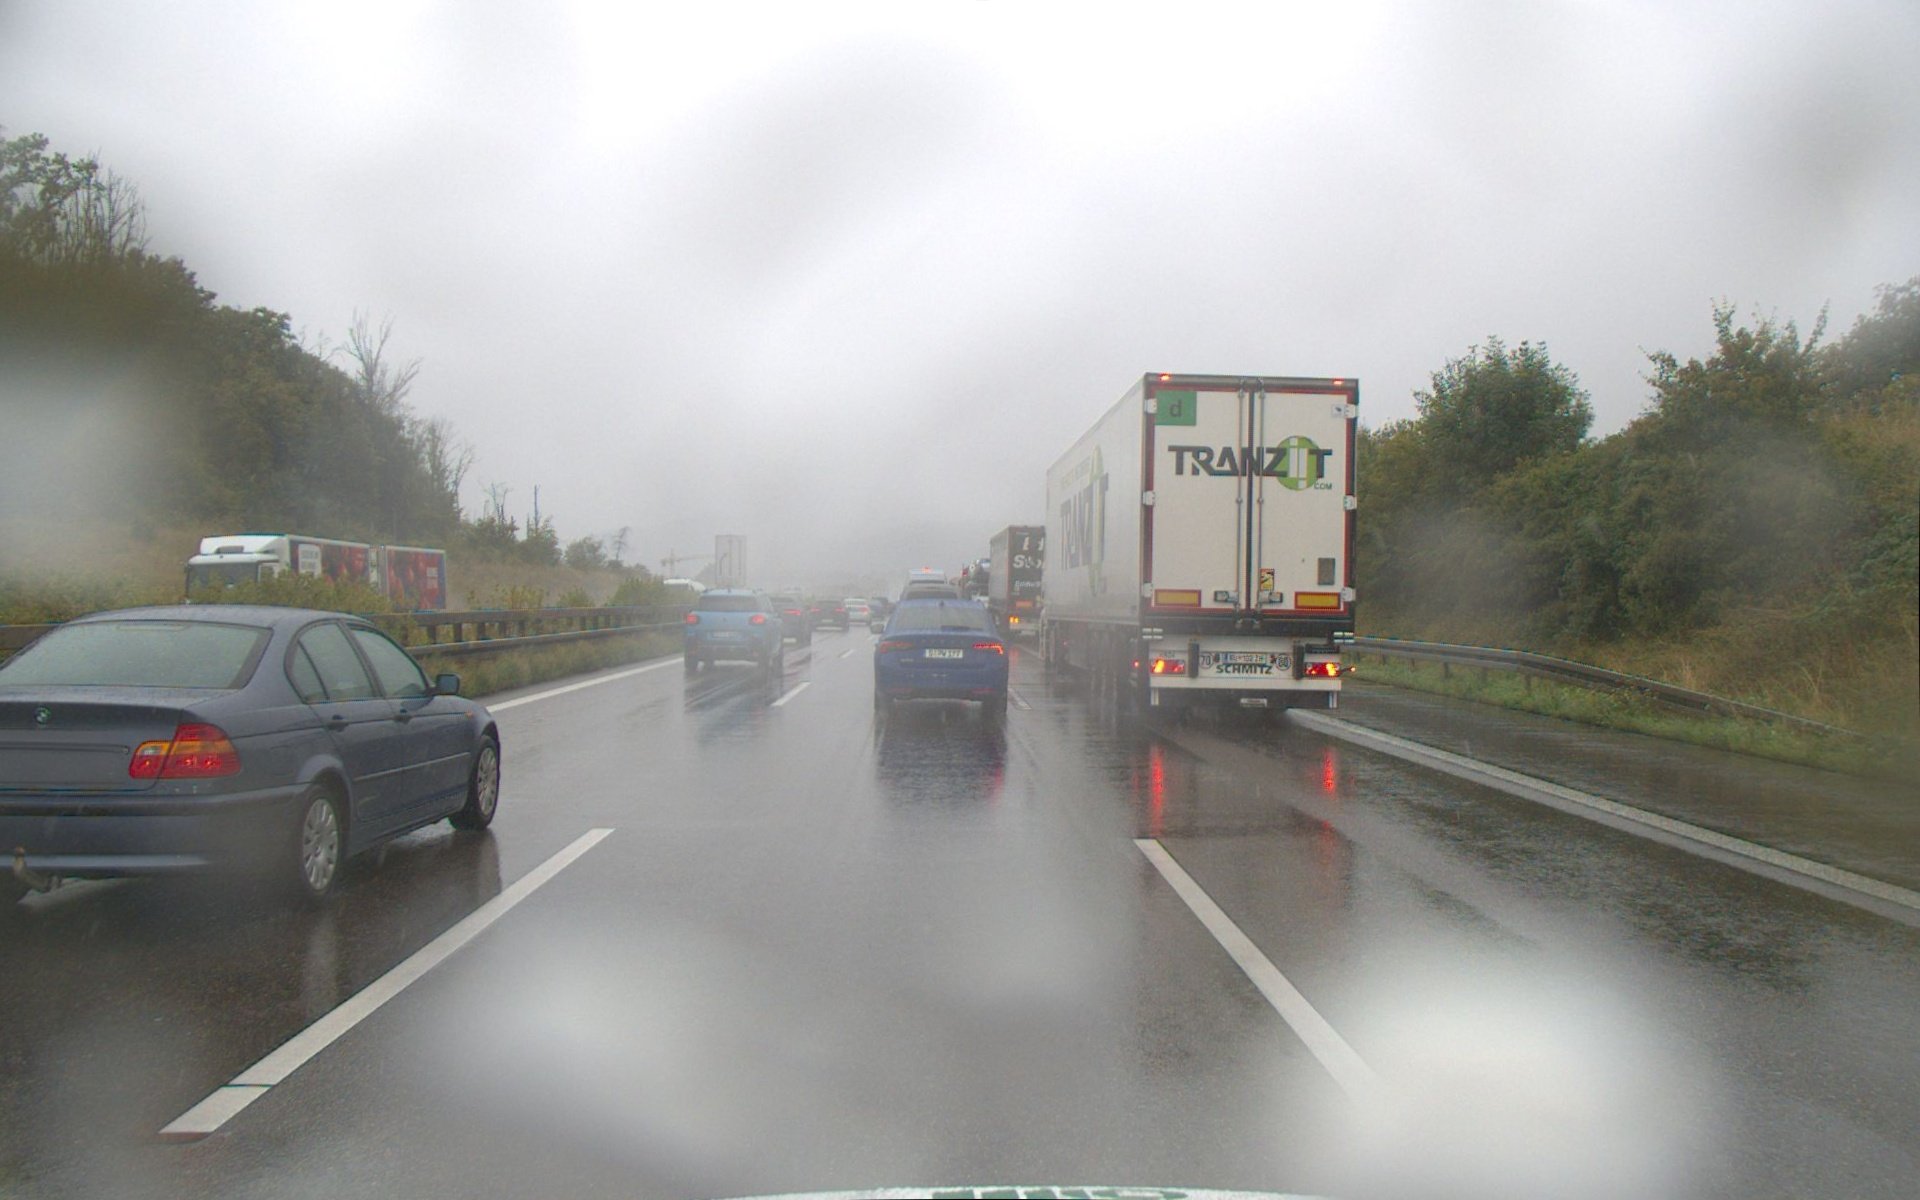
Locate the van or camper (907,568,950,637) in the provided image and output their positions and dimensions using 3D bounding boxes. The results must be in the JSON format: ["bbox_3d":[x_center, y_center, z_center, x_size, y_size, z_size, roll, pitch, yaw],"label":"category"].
[{"bbox_3d":[-1.367,0.085,70.702,1.761,2.855,4.766,0,0,-1],"label":"van or camper"}]

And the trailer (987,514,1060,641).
[{"bbox_3d":[2.238,-0.787,61.507,2.005,4.250,11.445,0,0,-1],"label":"trailer"}]

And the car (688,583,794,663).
[{"bbox_3d":[-4.463,0.450,34.207,1.686,1.550,4.000,0,0,0],"label":"car"}]

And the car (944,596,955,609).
[{"bbox_3d":[-1.491,0.339,235.316,1.419,1.815,3.408,1,0,-1],"label":"car"}]

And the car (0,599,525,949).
[{"bbox_3d":[-3.739,0.715,8.890,1.683,1.424,4.229,0,0,0],"label":"car"}]

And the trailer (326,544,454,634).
[{"bbox_3d":[-21.303,-0.390,62.313,1.953,3.136,8.869,1,0,-1],"label":"trailer"}]

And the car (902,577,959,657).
[{"bbox_3d":[-0.715,0.382,39.673,1.309,1.811,3.321,0,0,-1],"label":"car"}]

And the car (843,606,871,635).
[{"bbox_3d":[-5.657,1.129,91.255,1.410,1.560,3.321,0,0,-1],"label":"car"}]

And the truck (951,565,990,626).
[{"bbox_3d":[0.585,-0.316,98.928,1.953,3.481,8.028,0,1,-3],"label":"truck"}]

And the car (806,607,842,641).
[{"bbox_3d":[-6.156,1.079,74.969,1.410,1.445,3.321,0,0,-1],"label":"car"}]

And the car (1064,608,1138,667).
[{"bbox_3d":[3.346,0.880,39.722,1.395,1.310,3.459,0,0,-1],"label":"car"}]

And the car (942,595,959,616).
[{"bbox_3d":[-0.878,0.518,147.022,1.419,1.815,3.408,1,0,-1],"label":"car"}]

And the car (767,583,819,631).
[{"bbox_3d":[-5.186,0.199,51.552,1.331,1.456,3.363,0,0,-1],"label":"car"}]

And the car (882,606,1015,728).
[{"bbox_3d":[-0.157,0.822,22.165,1.602,1.470,3.999,0,0,-1],"label":"car"}]

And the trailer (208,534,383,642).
[{"bbox_3d":[-21.084,-0.368,53.100,1.953,3.136,9.552,1,0,-1],"label":"trailer"}]

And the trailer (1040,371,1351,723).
[{"bbox_3d":[3.103,-0.653,26.592,2.577,4.083,14.625,0,0,-1],"label":"trailer"}]

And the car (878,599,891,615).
[{"bbox_3d":[-8.543,0.790,187.213,1.419,1.815,3.408,1,0,-1],"label":"car"}]

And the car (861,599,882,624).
[{"bbox_3d":[-6.566,0.869,122.523,1.419,1.815,3.408,1,0,-1],"label":"car"}]

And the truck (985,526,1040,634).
[{"bbox_3d":[2.112,-0.795,67.226,2.005,4.266,3.999,0,0,-1],"label":"truck"}]

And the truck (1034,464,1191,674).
[{"bbox_3d":[2.949,-0.589,33.191,2.577,3.894,4.790,0,0,-1],"label":"truck"}]
